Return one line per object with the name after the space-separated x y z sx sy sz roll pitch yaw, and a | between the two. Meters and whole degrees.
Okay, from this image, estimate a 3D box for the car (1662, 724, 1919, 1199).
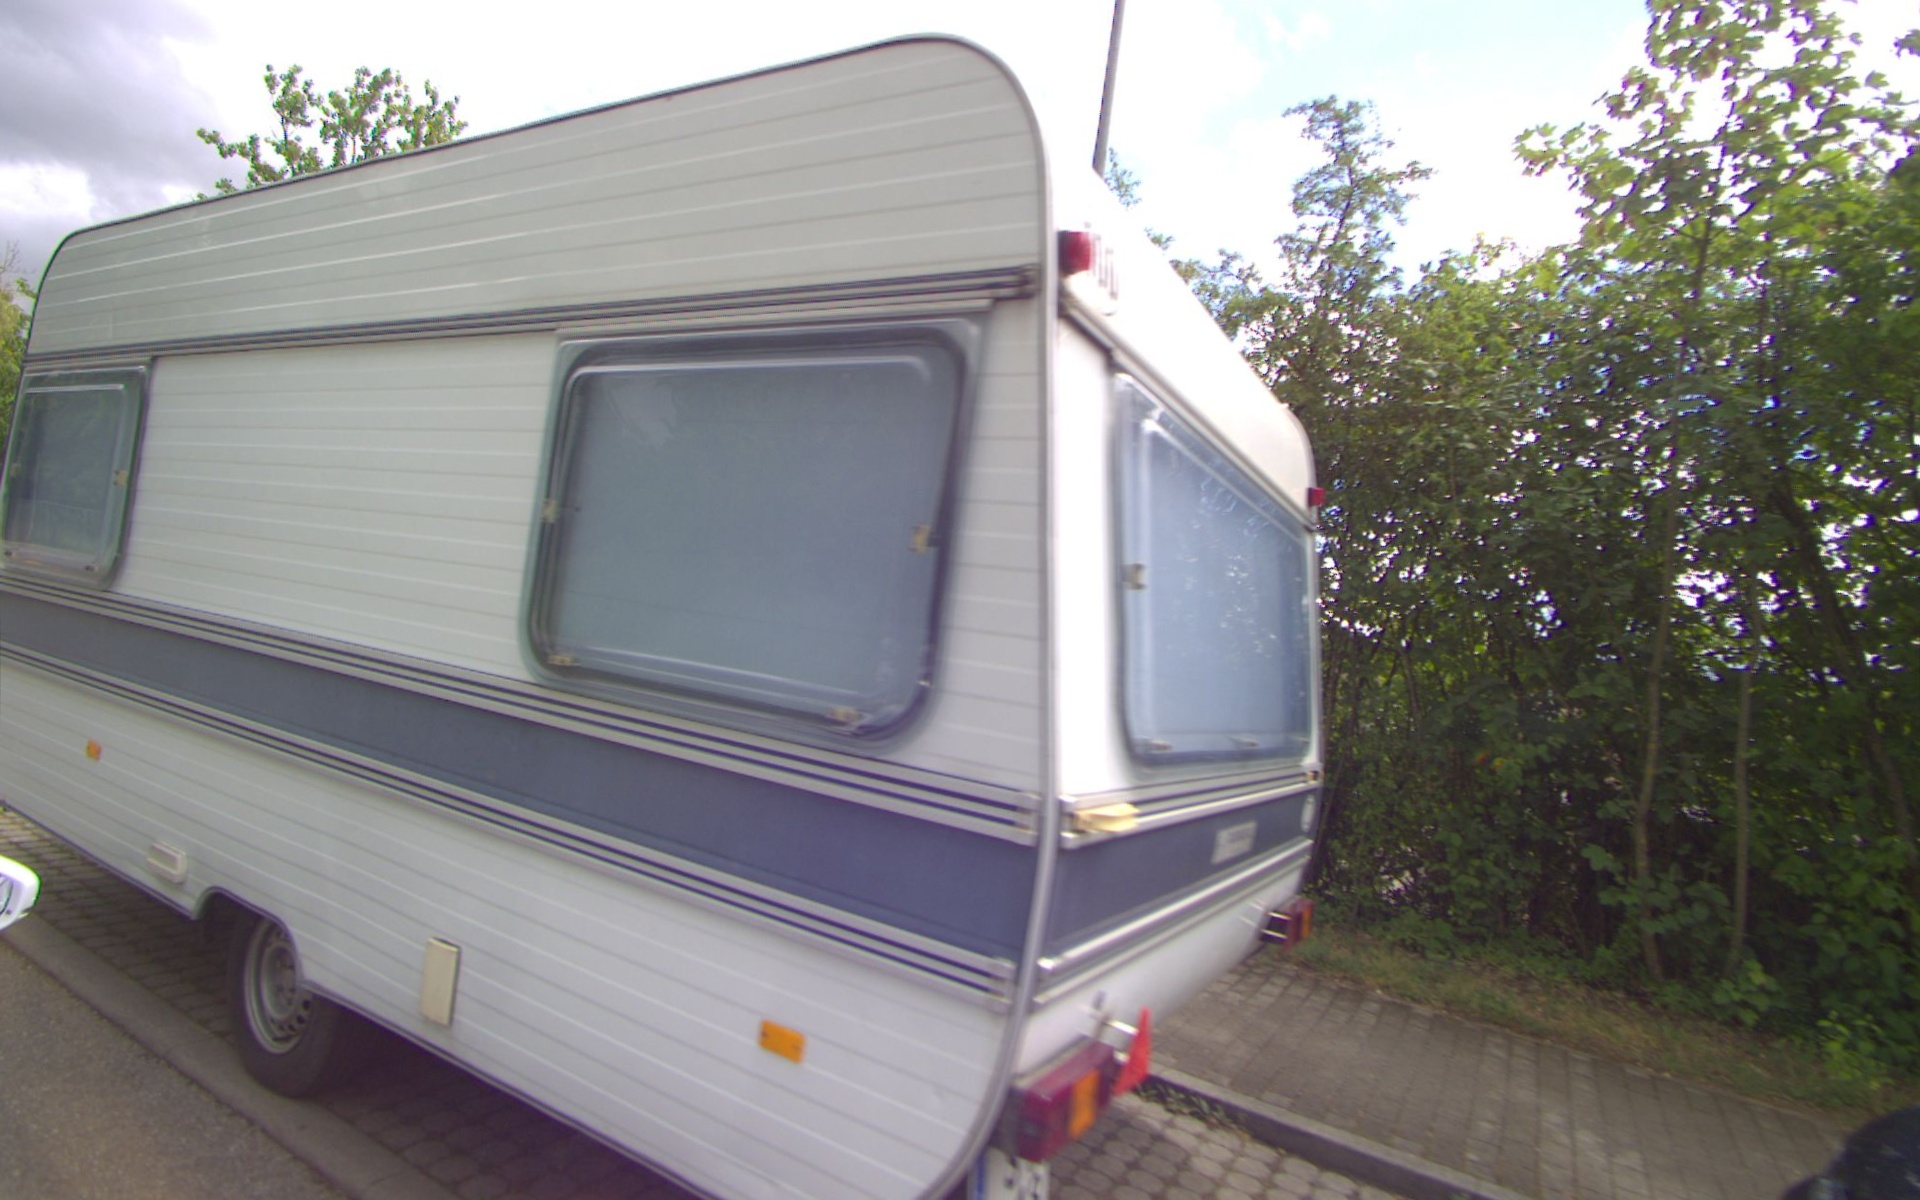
3.229 1.147 0.598 4.405 1.467 1.686 6 -3 30 | car

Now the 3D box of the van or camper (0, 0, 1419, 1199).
-1.366 0.049 3.520 4.989 2.583 2.360 6 -2 30 | van or camper
